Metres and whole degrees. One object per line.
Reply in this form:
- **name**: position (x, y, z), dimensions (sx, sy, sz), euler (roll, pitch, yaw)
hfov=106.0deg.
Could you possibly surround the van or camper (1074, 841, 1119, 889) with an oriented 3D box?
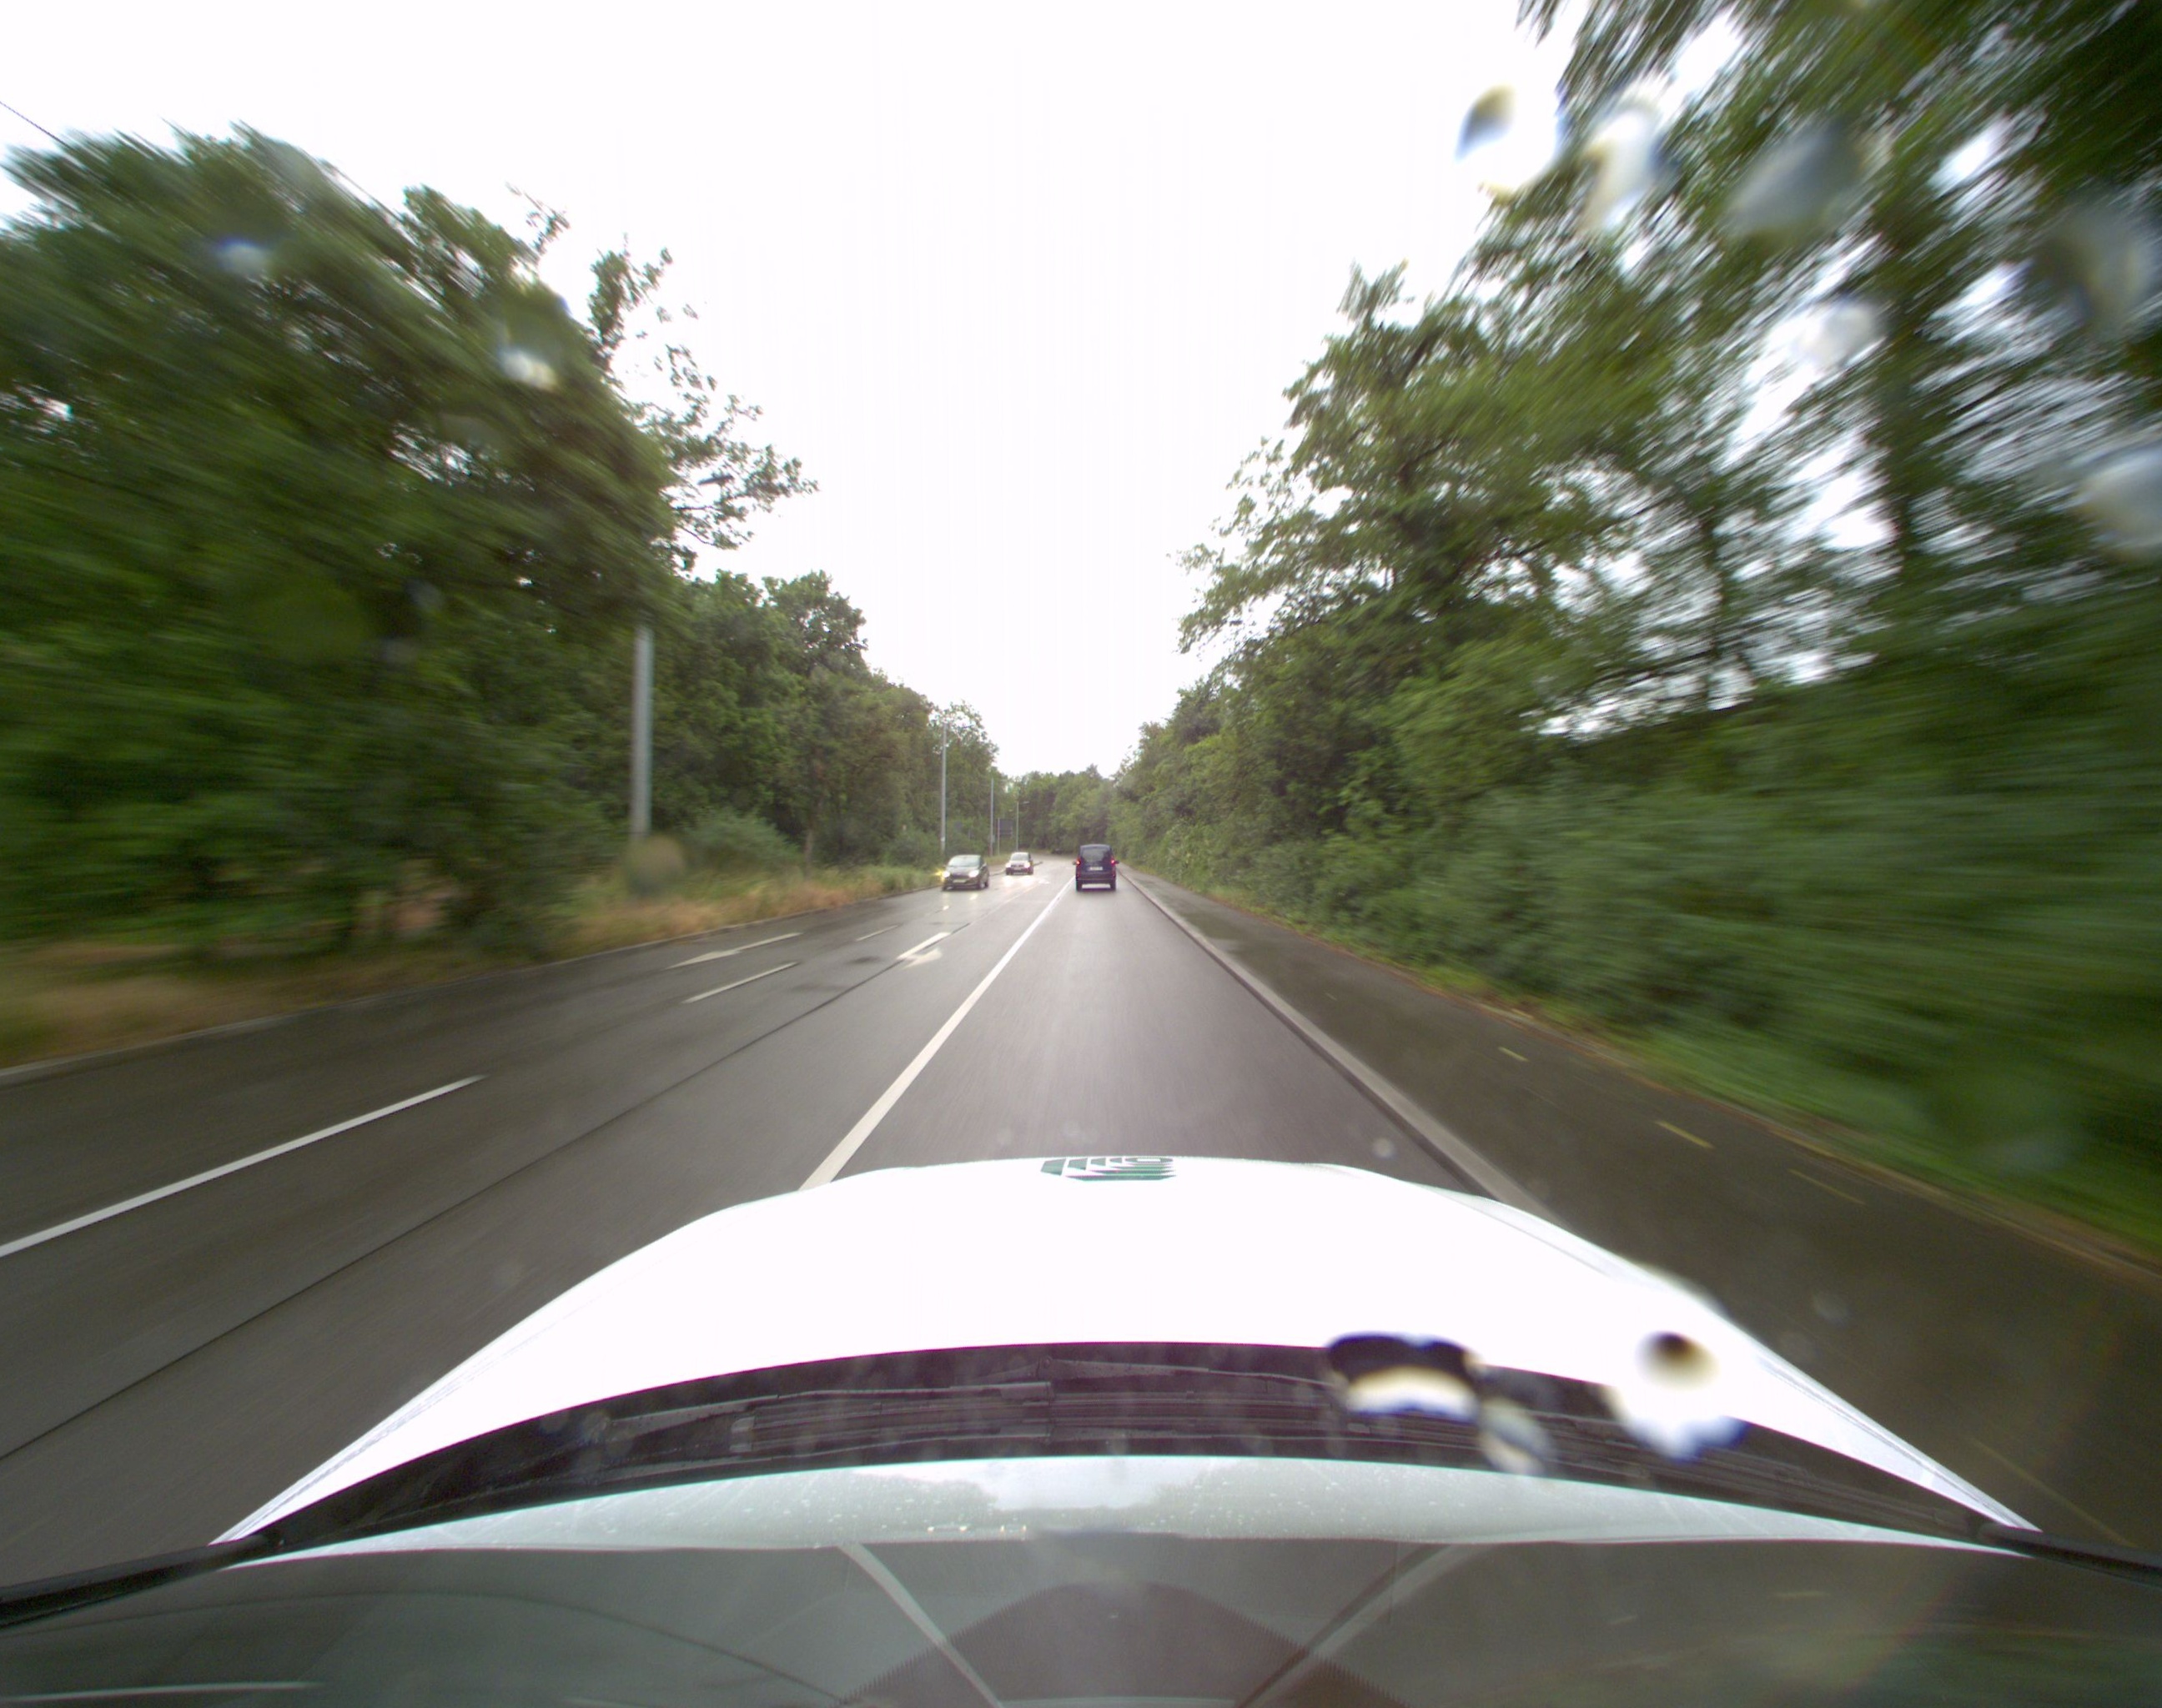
- **van or camper**: position (0.636, 0.402, 33.981), dimensions (1.707, 1.825, 4.001), euler (-1, 1, 1)

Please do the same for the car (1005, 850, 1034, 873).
- **car**: position (-4.420, 0.525, 59.052), dimensions (1.765, 1.610, 4.085), euler (0, 0, 1)

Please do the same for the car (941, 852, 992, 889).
- **car**: position (-4.902, 0.675, 35.421), dimensions (1.593, 1.441, 3.991), euler (-1, 0, 0)
